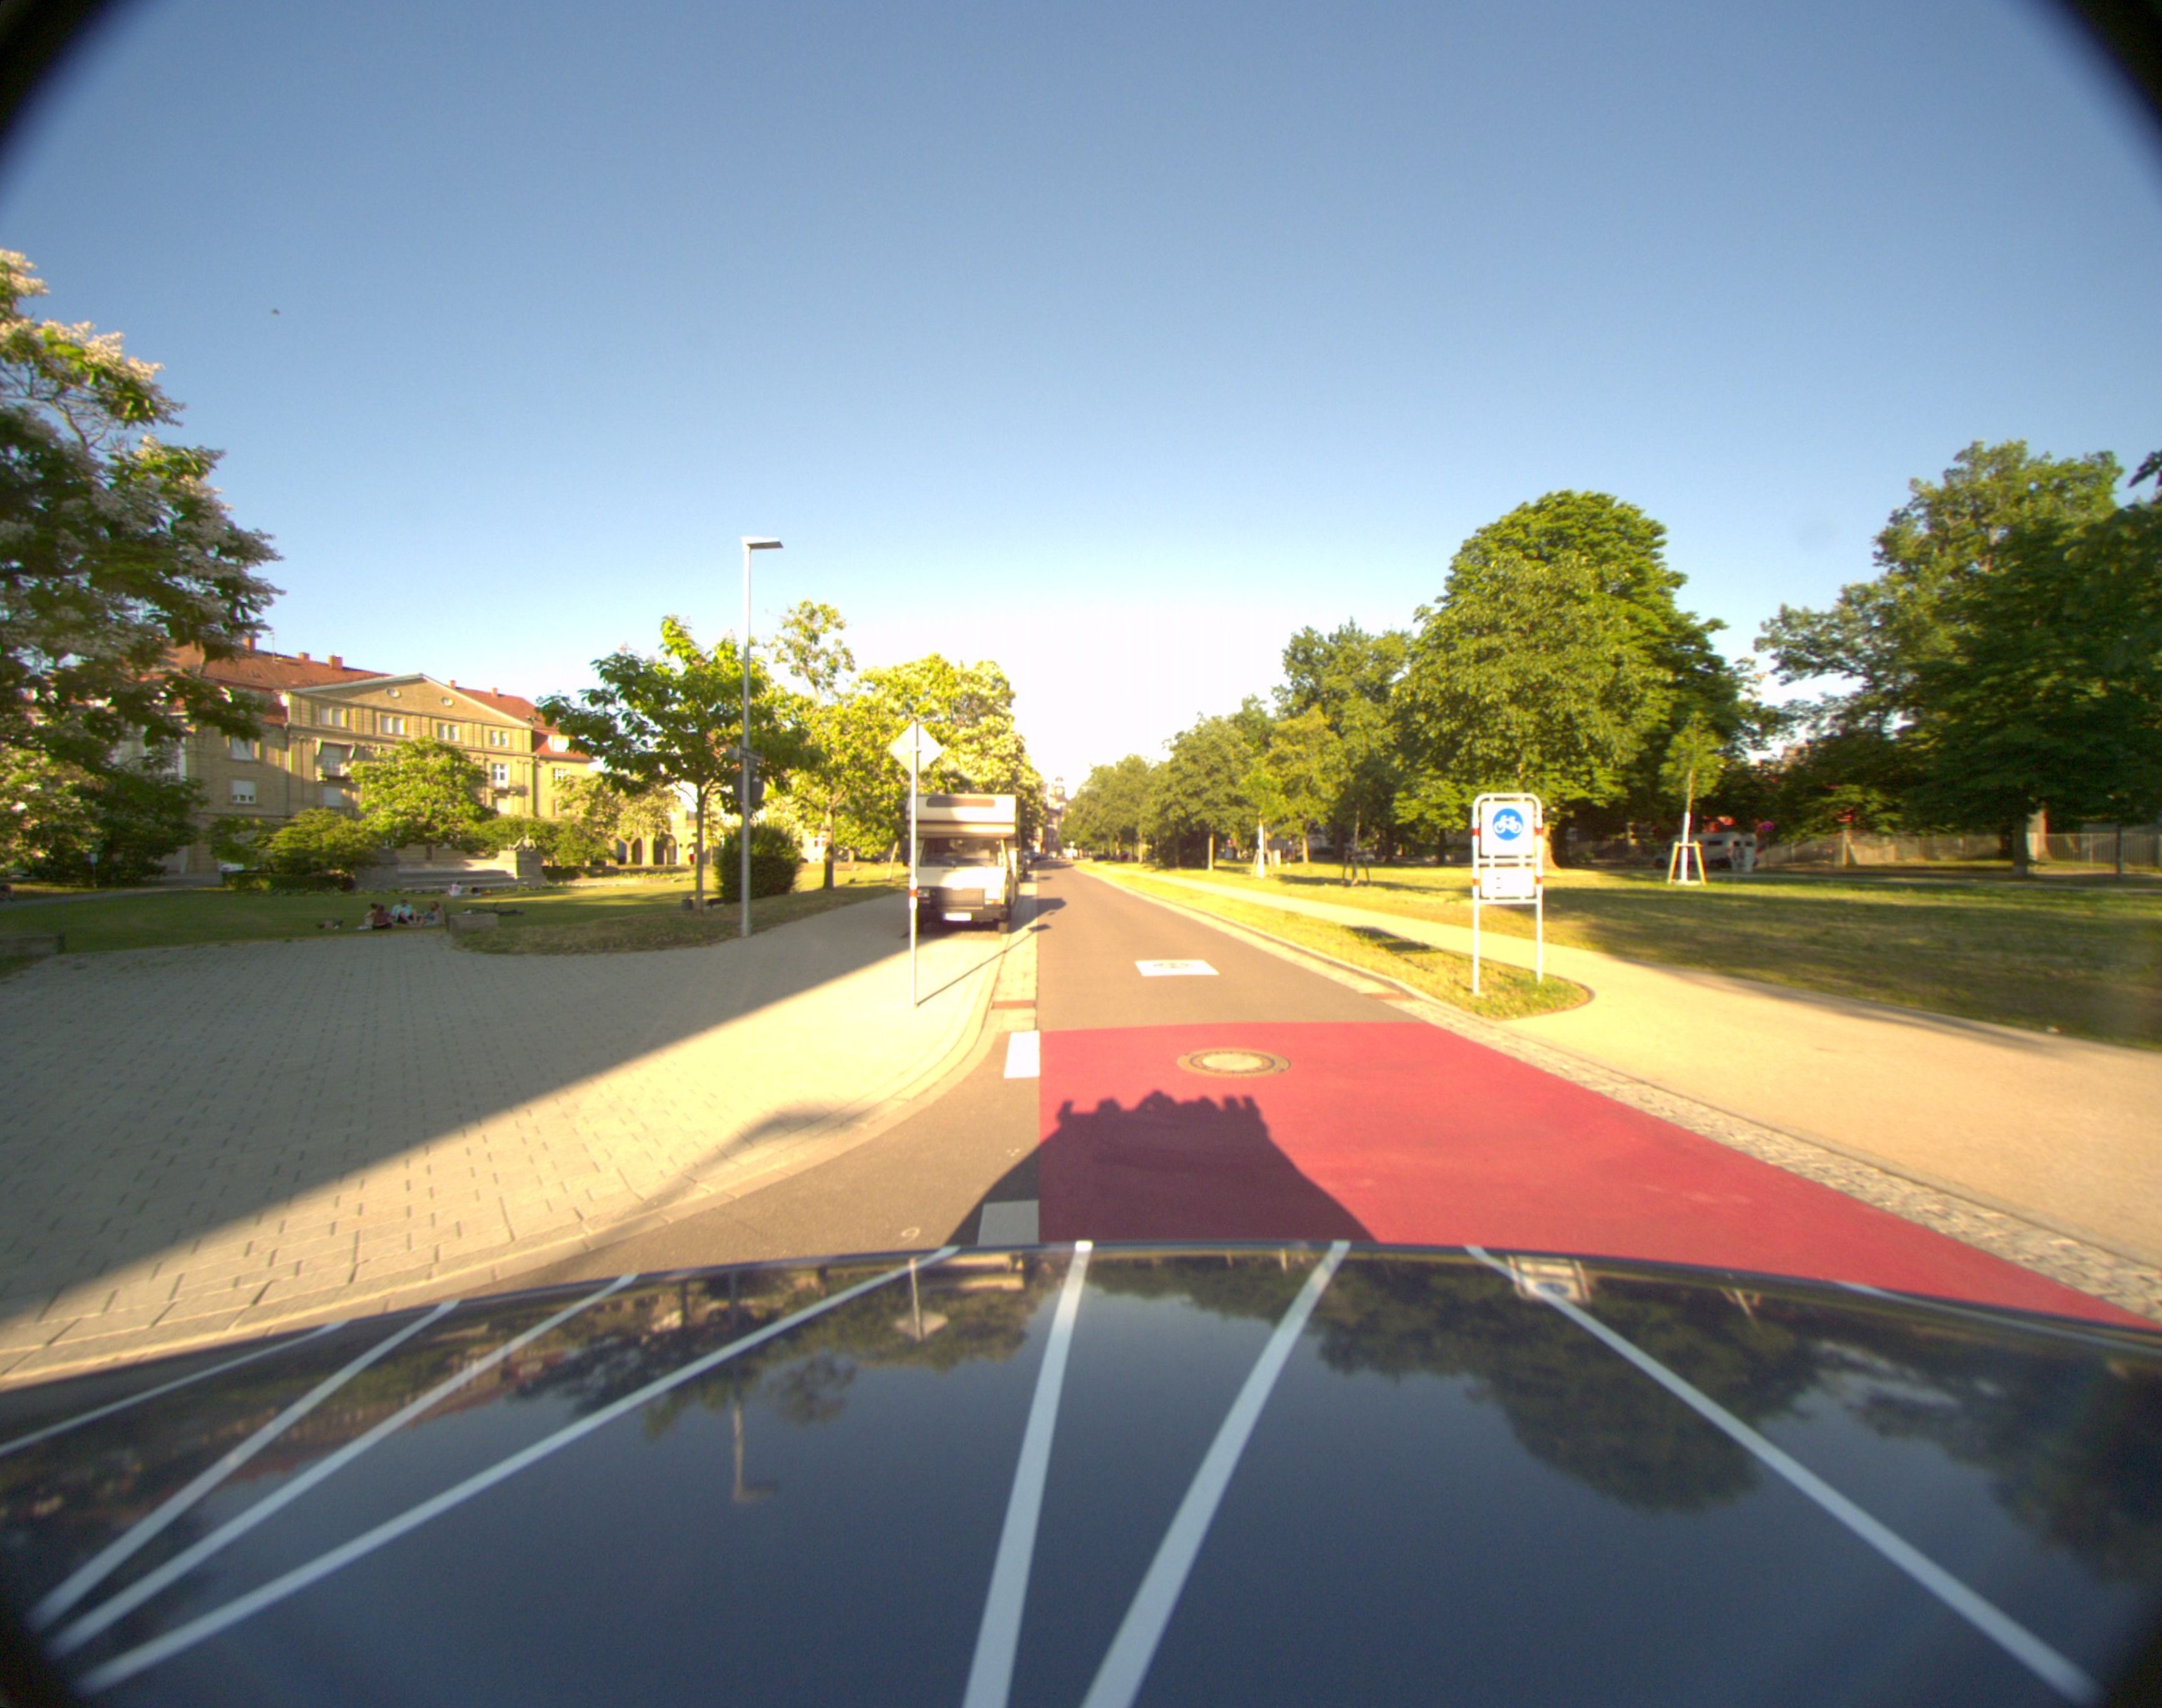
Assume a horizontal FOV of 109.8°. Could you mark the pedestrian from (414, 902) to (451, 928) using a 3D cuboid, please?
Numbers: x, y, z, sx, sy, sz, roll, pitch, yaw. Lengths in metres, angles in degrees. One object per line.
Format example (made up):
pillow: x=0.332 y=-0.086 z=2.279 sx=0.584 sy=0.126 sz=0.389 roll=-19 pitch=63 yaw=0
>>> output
pedestrian: x=-20.767 y=1.940 z=24.330 sx=0.497 sy=0.760 sz=0.812 roll=-1 pitch=0 yaw=36

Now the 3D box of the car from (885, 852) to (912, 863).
car: x=-27.620 y=0.547 z=115.054 sx=3.708 sy=1.490 sz=1.723 roll=-2 pitch=1 yaw=-21

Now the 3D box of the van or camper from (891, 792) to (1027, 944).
van or camper: x=-2.472 y=0.216 z=17.004 sx=2.428 sy=2.767 sz=5.949 roll=1 pitch=1 yaw=-4

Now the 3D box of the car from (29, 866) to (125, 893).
car: x=-67.740 y=1.689 z=51.365 sx=1.777 sy=1.574 sz=3.994 roll=-2 pitch=1 yaw=-15

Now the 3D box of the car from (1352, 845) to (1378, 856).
car: x=38.616 y=-0.514 z=103.529 sx=1.797 sy=1.455 sz=3.998 roll=-2 pitch=1 yaw=-4

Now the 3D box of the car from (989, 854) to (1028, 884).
car: x=-3.926 y=0.778 z=41.834 sx=1.999 sy=1.501 sz=3.998 roll=-2 pitch=1 yaw=-4

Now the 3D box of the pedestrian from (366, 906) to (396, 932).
pedestrian: x=-21.449 y=1.994 z=23.287 sx=0.498 sy=0.742 sz=0.454 roll=-2 pitch=1 yaw=-7

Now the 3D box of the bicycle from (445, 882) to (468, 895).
bicycle: x=-34.159 y=1.891 z=41.569 sx=0.907 sy=0.648 sz=0.438 roll=-2 pitch=1 yaw=-42

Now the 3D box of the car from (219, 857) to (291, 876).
car: x=-67.526 y=1.022 z=62.195 sx=1.724 sy=1.490 sz=3.706 roll=-1 pitch=-1 yaw=4

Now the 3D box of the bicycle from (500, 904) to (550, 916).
bicycle: x=-21.282 y=2.149 z=29.114 sx=0.659 sy=0.317 sz=1.703 roll=0 pitch=1 yaw=-1

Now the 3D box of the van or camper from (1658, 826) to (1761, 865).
van or camper: x=41.327 y=-0.569 z=50.192 sx=1.999 sy=2.425 sz=5.464 roll=0 pitch=1 yaw=-5

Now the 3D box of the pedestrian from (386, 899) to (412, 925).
pedestrian: x=-22.755 y=1.926 z=25.344 sx=0.453 sy=0.830 sz=0.499 roll=-1 pitch=1 yaw=30

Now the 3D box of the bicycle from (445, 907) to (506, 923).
bicycle: x=-21.479 y=2.154 z=27.001 sx=0.659 sy=0.380 sz=1.932 roll=0 pitch=1 yaw=-1

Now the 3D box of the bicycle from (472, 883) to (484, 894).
bicycle: x=-33.491 y=1.898 z=42.183 sx=0.488 sy=0.579 sz=0.438 roll=-2 pitch=1 yaw=-42
